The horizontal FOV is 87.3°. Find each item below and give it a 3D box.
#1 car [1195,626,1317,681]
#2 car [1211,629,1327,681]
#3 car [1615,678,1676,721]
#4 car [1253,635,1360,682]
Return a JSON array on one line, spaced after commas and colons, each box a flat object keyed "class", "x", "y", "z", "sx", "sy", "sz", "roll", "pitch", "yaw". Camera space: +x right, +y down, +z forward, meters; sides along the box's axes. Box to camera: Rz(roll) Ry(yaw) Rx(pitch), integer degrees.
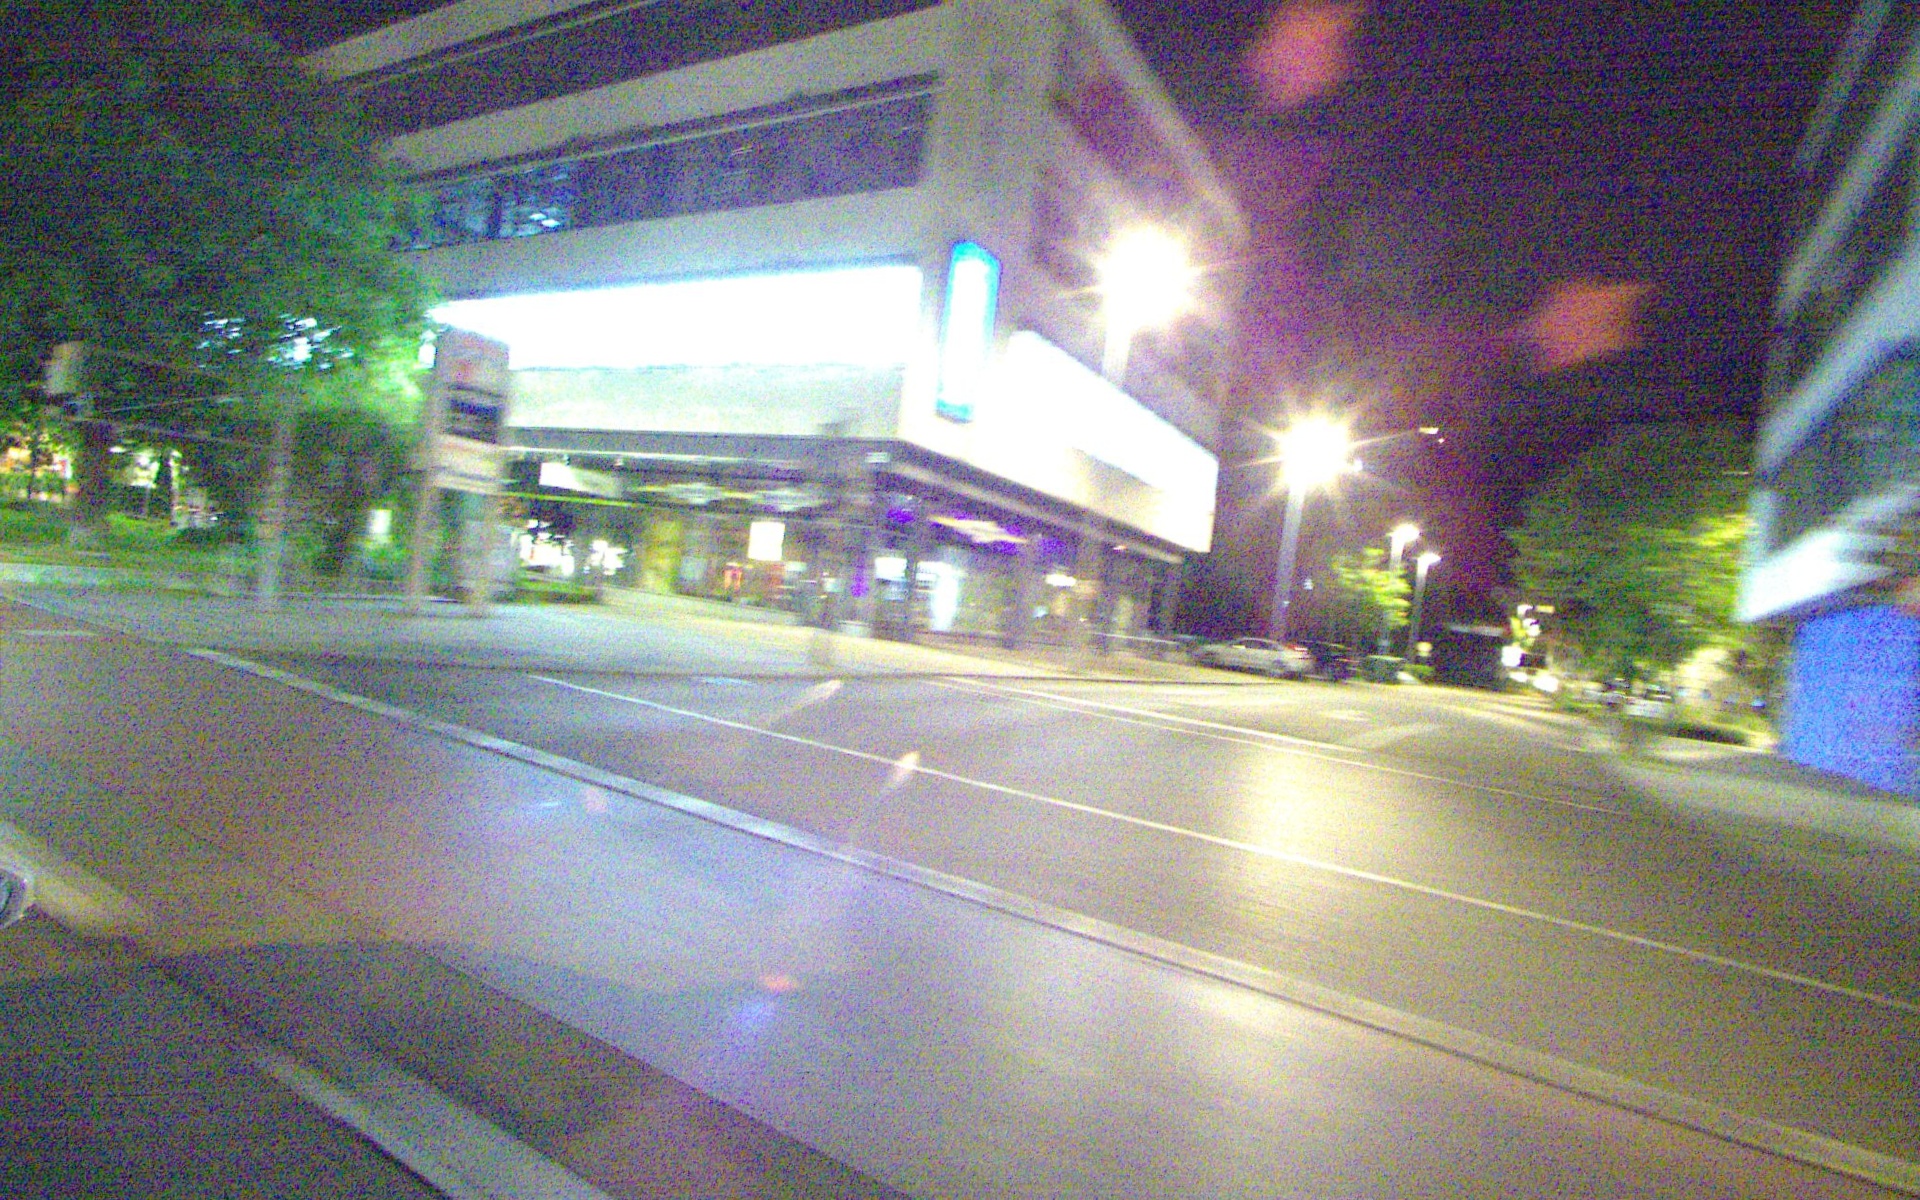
[{"class": "car", "x": 11.975, "y": 2.147, "z": 40.729, "sx": 4.311, "sy": 1.585, "sz": 1.972, "roll": 7, "pitch": 0, "yaw": 28}, {"class": "car", "x": 13.139, "y": 2.327, "z": 42.819, "sx": 4.311, "sy": 1.585, "sz": 1.972, "roll": 7, "pitch": 0, "yaw": 28}, {"class": "car", "x": 28.989, "y": 4.172, "z": 42.630, "sx": 1.697, "sy": 1.469, "sz": 3.992, "roll": 7, "pitch": 0, "yaw": 31}, {"class": "car", "x": 16.170, "y": 2.736, "z": 46.985, "sx": 4.311, "sy": 1.585, "sz": 1.972, "roll": 7, "pitch": 0, "yaw": 28}]
